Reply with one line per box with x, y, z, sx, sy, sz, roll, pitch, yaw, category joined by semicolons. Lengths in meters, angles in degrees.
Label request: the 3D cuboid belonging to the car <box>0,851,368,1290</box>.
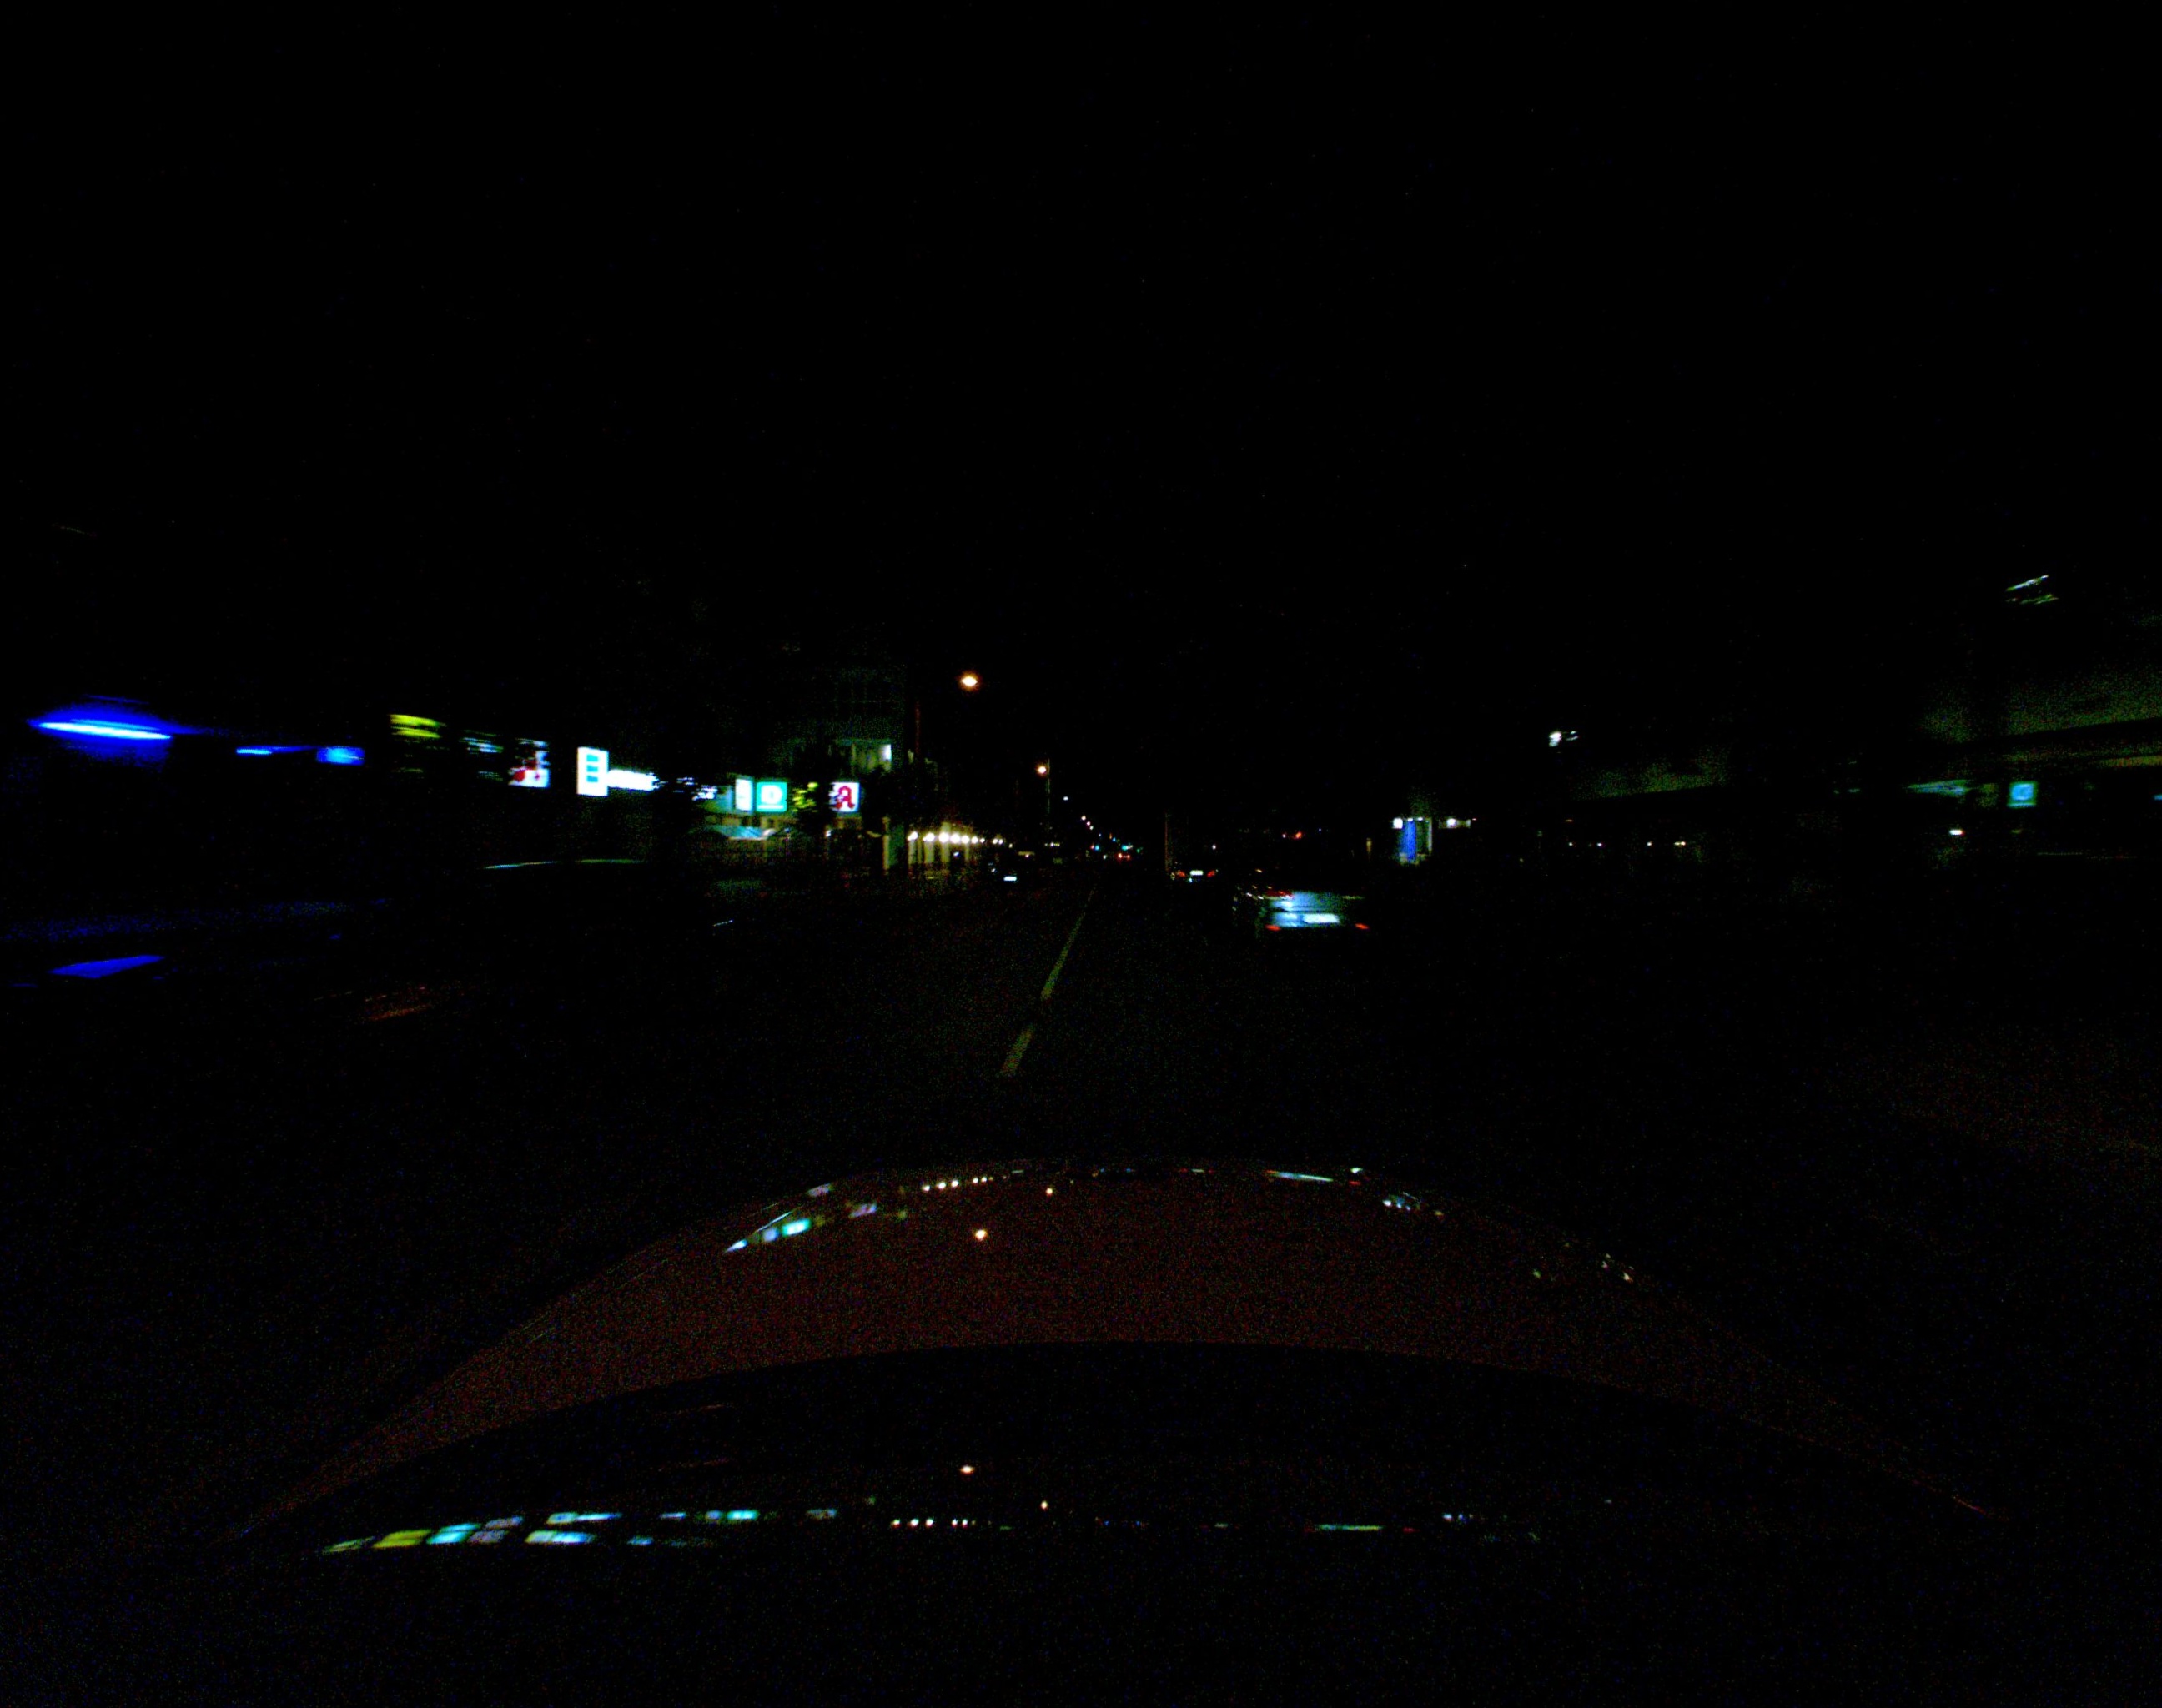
-4.573;0.735;1.612;1.799;1.425;4.924;2;0;2;car

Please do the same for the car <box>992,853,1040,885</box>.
-3.060;0.698;39.247;1.734;1.413;4.499;1;0;3;car

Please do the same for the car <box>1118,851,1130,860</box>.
7.770;0.269;147.908;1.986;1.643;4.002;-1;0;2;car

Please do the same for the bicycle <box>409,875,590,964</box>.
-7.219;0.797;10.147;1.844;1.000;0.533;2;0;1;bicycle

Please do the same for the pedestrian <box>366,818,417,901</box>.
-13.931;0.104;16.467;0.476;1.636;0.632;0;0;3;pedestrian

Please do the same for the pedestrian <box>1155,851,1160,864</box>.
10.976;0.508;116.628;0.700;1.818;1.083;-1;0;3;pedestrian

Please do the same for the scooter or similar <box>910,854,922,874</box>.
-10.190;0.616;50.365;0.385;1.221;1.345;0;0;5;scooter or similar

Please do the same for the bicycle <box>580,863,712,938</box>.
-6.971;0.732;13.092;1.844;1.166;0.533;0;0;1;bicycle

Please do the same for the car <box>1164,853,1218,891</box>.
4.377;0.680;33.066;1.757;1.414;4.811;-1;0;3;car

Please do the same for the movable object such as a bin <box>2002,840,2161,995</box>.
9.833;0.564;7.689;1.156;1.371;0.993;1;0;0;movable object such as a bin

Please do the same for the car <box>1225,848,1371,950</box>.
3.657;0.681;14.417;1.683;1.537;4.018;-1;0;3;car

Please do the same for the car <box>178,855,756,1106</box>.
-4.509;0.765;6.906;1.715;1.428;3.979;2;0;2;car

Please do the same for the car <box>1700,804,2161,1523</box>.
3.127;0.635;0.921;1.763;1.537;4.219;-2;0;3;car
